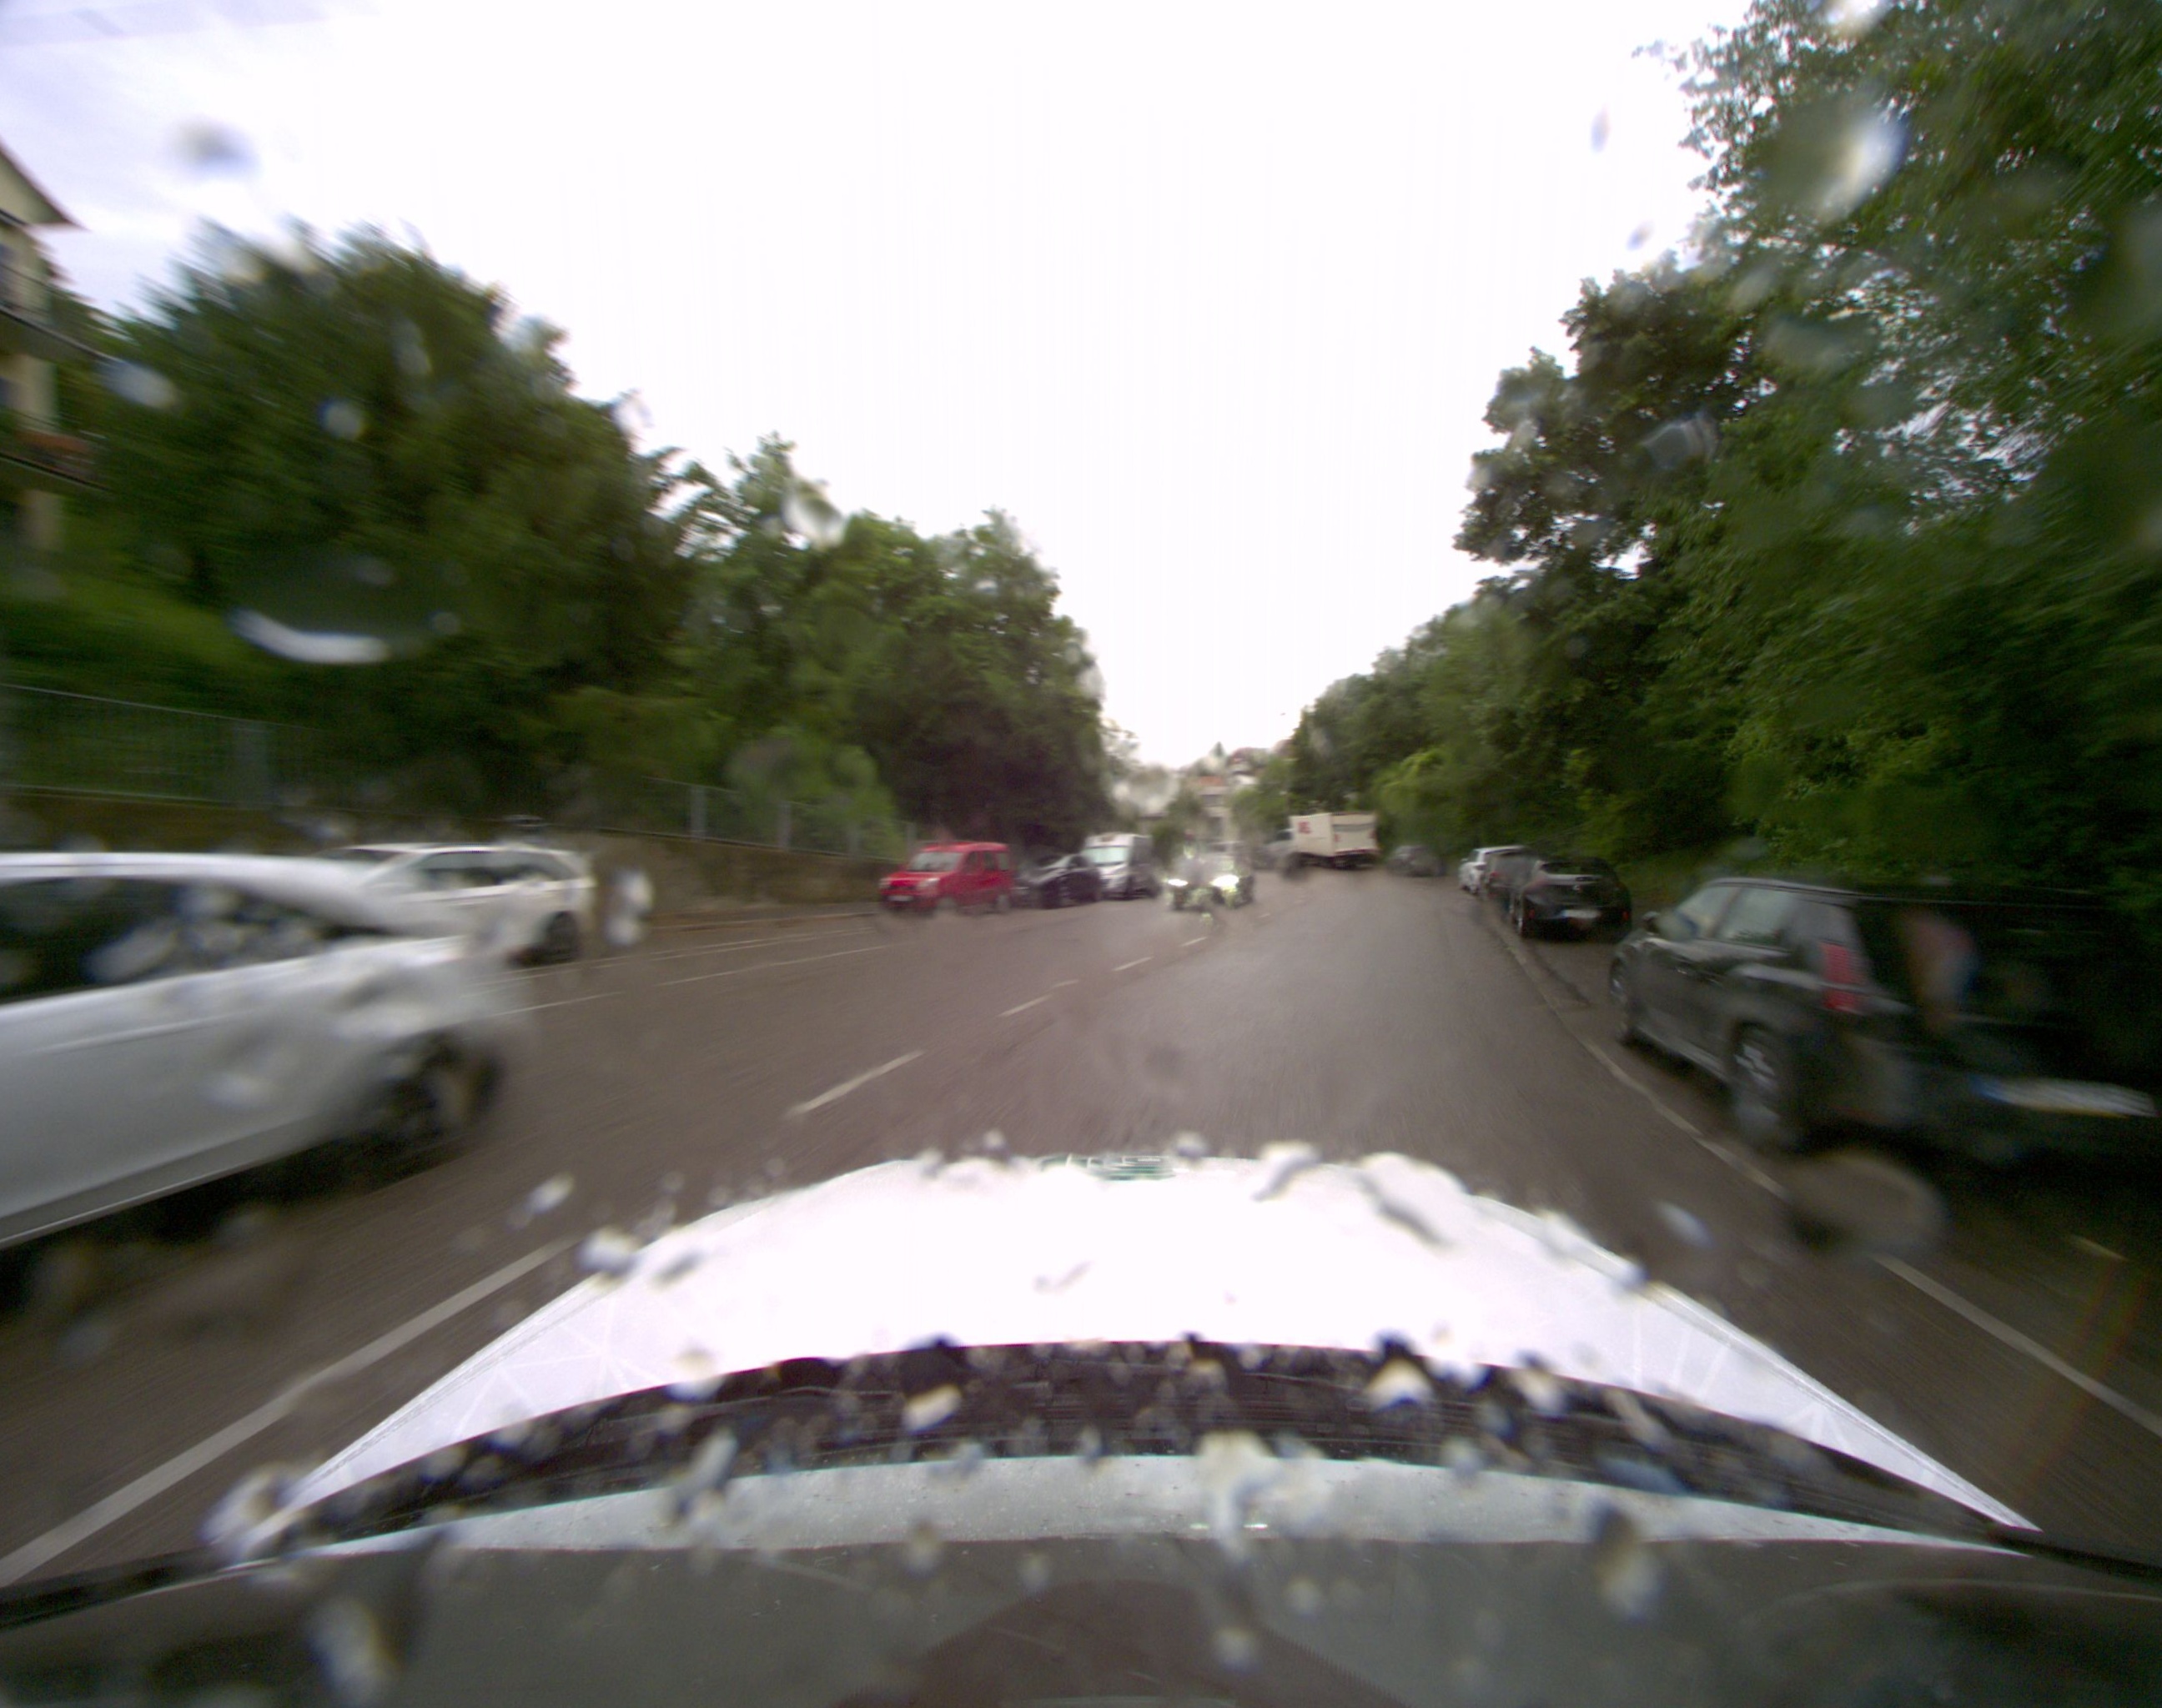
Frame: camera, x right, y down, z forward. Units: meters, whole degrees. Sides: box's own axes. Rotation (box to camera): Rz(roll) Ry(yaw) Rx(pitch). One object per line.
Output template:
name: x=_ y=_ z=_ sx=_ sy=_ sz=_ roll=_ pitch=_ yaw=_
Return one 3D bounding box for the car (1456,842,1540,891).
car: x=13.300 y=0.349 z=26.182 sx=1.741 sy=1.400 sz=4.115 roll=-1 pitch=1 yaw=18

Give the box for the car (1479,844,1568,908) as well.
car: x=11.274 y=0.482 z=20.965 sx=1.645 sy=1.424 sz=3.991 roll=0 pitch=1 yaw=23

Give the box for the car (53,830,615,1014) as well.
car: x=-7.624 y=0.548 z=8.970 sx=1.724 sy=1.479 sz=4.217 roll=2 pitch=1 yaw=18

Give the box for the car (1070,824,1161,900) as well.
car: x=1.476 y=0.276 z=30.962 sx=2.058 sy=2.549 sz=6.372 roll=-2 pitch=0 yaw=15

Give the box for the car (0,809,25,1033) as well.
car: x=-8.852 y=0.463 z=3.804 sx=1.765 sy=1.585 sz=4.444 roll=1 pitch=0 yaw=9

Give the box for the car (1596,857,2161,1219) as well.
car: x=4.861 y=0.802 z=5.412 sx=1.613 sy=1.488 sz=3.763 roll=2 pitch=1 yaw=20

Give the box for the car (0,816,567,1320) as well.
car: x=-3.981 y=0.625 z=2.575 sx=1.591 sy=1.495 sz=4.046 roll=1 pitch=0 yaw=11

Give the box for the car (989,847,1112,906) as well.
car: x=-0.807 y=0.622 z=24.713 sx=1.976 sy=1.619 sz=4.421 roll=0 pitch=0 yaw=24

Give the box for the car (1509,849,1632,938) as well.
car: x=9.136 y=0.644 z=15.466 sx=1.575 sy=1.389 sz=3.844 roll=2 pitch=1 yaw=25

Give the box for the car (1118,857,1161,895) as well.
car: x=2.741 y=1.011 z=38.180 sx=1.796 sy=1.583 sz=4.028 roll=-4 pitch=-2 yaw=3

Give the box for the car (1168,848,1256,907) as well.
car: x=3.915 y=0.617 z=23.698 sx=1.852 sy=1.516 sz=4.504 roll=-2 pitch=0 yaw=17

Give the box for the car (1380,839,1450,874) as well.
car: x=15.604 y=0.103 z=38.261 sx=1.713 sy=1.444 sz=4.129 roll=-3 pitch=0 yaw=4

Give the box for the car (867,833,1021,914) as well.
car: x=-3.200 y=0.481 z=19.895 sx=1.735 sy=1.768 sz=4.159 roll=-1 pitch=-2 yaw=23

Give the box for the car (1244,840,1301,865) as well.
car: x=13.397 y=-0.068 z=57.212 sx=1.725 sy=1.555 sz=4.247 roll=-5 pitch=1 yaw=-20

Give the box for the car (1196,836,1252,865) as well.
car: x=11.015 y=-0.236 z=63.032 sx=1.886 sy=2.014 sz=4.650 roll=-2 pitch=-1 yaw=-26

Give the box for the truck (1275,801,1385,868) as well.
truck: x=15.015 y=-1.081 z=50.025 sx=3.006 sy=3.573 sz=8.312 roll=-4 pitch=0 yaw=-8
